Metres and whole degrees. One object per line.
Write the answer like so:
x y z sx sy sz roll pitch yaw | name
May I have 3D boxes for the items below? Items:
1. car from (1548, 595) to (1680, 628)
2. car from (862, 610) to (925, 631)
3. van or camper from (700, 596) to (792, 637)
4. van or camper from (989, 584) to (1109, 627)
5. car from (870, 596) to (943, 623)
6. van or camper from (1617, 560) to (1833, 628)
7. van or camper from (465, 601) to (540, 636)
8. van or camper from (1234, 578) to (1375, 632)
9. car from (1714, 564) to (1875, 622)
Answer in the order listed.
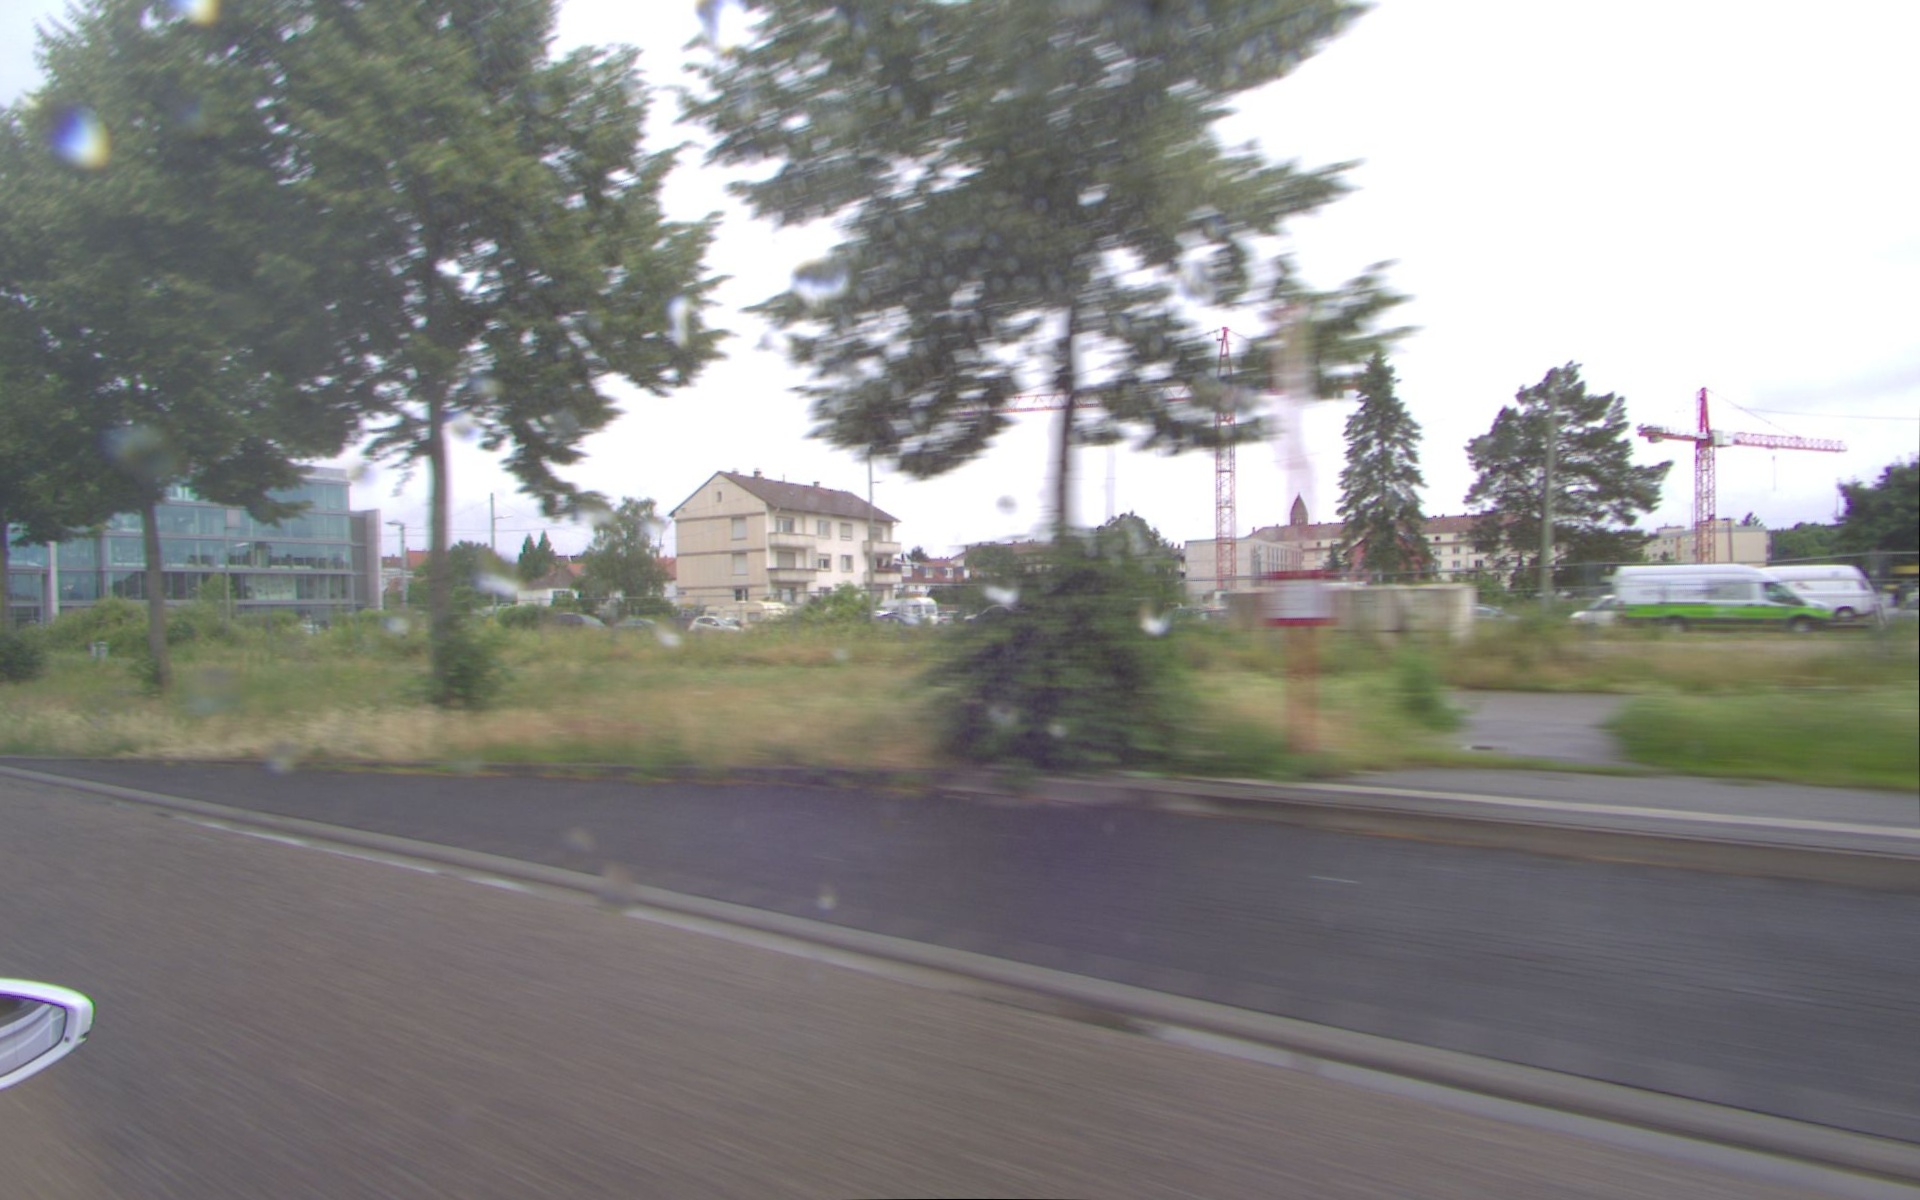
28.609 0.512 44.019 4.687 1.370 2.088 -1 -1 29 | car
-4.392 1.353 65.986 3.976 1.370 1.692 -1 0 33 | car
-14.867 1.131 69.375 6.302 2.724 2.305 -1 0 30 | van or camper
5.117 0.361 58.024 6.549 2.336 2.500 -1 -2 30 | van or camper
-4.053 0.740 75.930 5.127 1.919 2.160 -1 0 29 | car
27.947 -0.139 36.910 6.057 2.337 2.200 -1 -1 30 | van or camper
-41.739 1.704 91.253 6.677 3.033 2.902 -1 0 30 | van or camper
17.274 0.280 50.290 6.323 2.569 2.773 -1 -1 30 | van or camper
34.080 -0.231 41.103 4.687 2.249 2.269 -1 -1 29 | car
